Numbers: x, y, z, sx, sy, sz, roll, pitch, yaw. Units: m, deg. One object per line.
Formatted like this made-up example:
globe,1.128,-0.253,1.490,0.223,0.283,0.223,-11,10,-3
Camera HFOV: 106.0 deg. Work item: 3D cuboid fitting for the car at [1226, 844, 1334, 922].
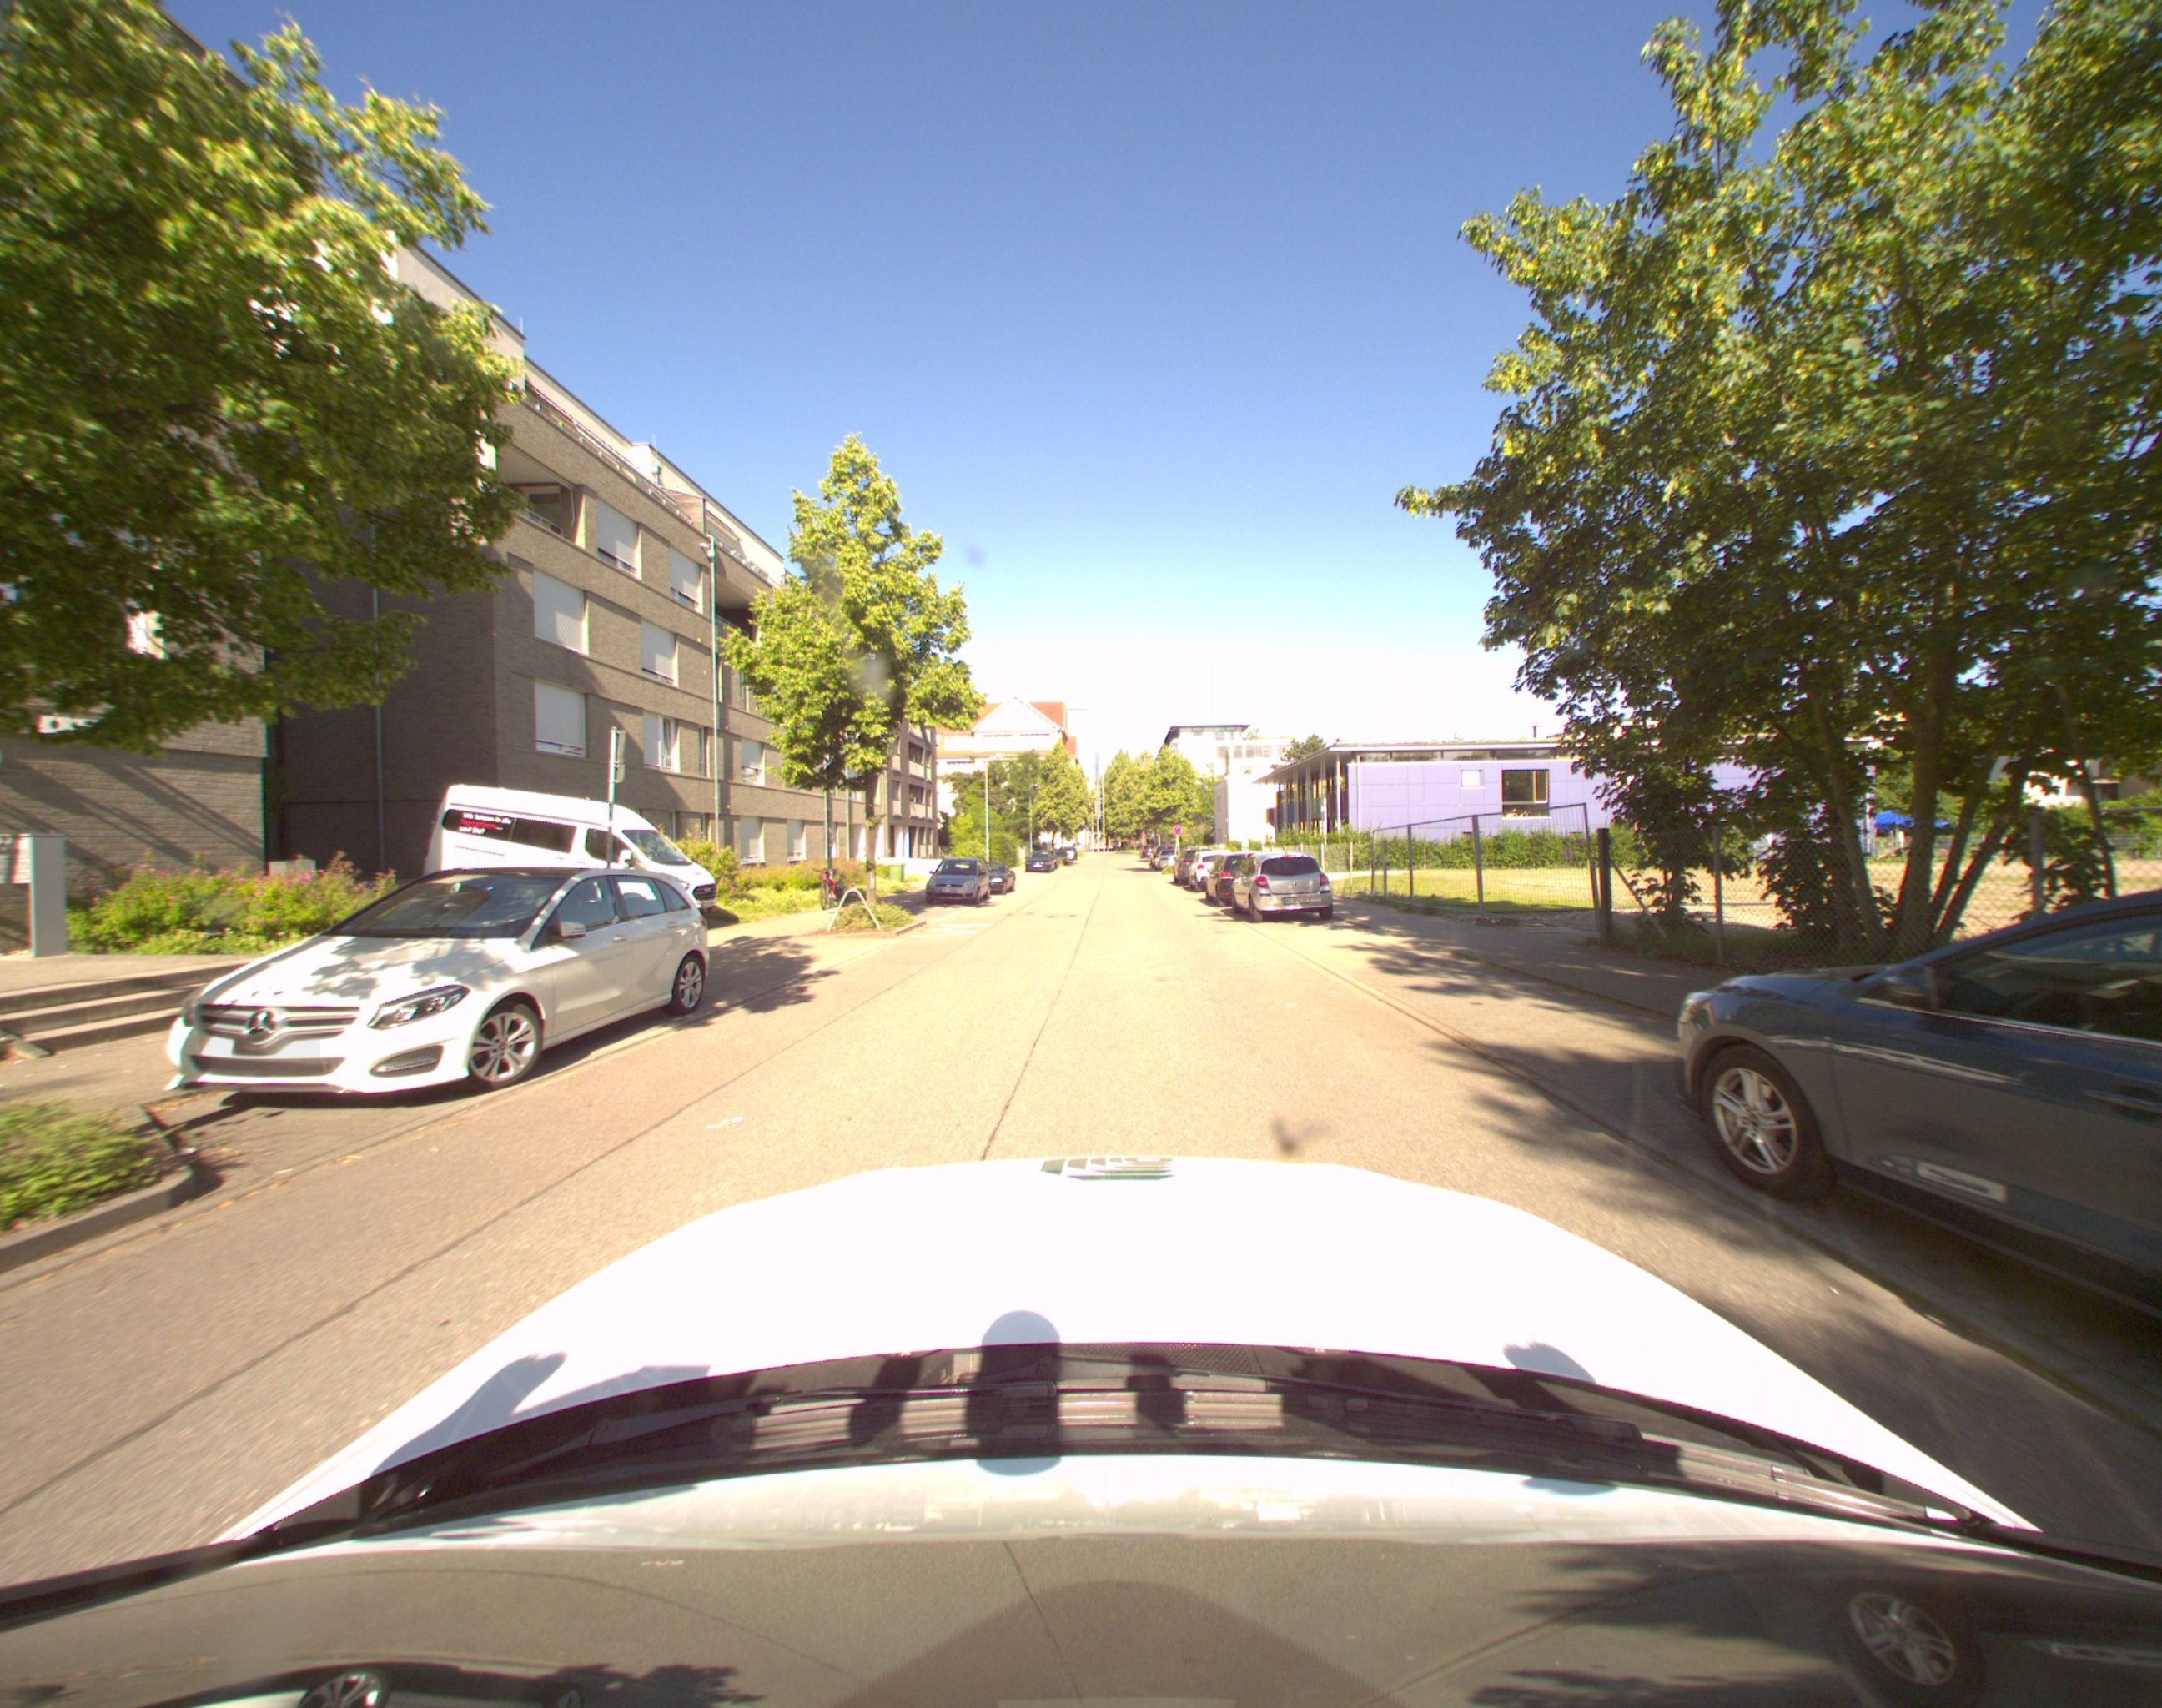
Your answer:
car,4.423,0.570,18.645,1.656,1.512,4.004,-1,2,3

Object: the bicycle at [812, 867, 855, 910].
bicycle,-6.958,0.945,22.970,0.281,1.124,1.989,-1,0,9

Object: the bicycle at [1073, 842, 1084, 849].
bicycle,-0.398,-1.135,109.700,1.463,0.842,0.335,-1,1,-2

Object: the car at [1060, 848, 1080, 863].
car,-1.106,0.151,85.190,1.770,1.530,4.003,-1,0,3

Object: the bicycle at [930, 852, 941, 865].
bicycle,-9.923,0.310,55.447,0.252,0.837,1.777,-1,2,6

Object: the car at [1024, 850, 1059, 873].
car,-2.695,0.486,55.792,1.753,1.527,4.007,1,0,6

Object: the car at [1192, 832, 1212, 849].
car,14.456,-1.599,97.683,1.985,2.013,4.003,-1,1,2

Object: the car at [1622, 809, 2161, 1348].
car,3.704,0.584,2.145,1.670,1.437,4.440,-1,0,1

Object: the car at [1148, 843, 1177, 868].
car,6.171,0.116,61.911,1.814,1.718,4.122,-4,0,2

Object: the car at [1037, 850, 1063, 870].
car,-2.341,0.430,62.351,1.623,1.501,3.580,-1,0,3

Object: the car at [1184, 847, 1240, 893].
car,4.960,0.551,31.216,1.673,1.542,3.851,-1,2,2

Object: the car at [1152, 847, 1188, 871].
car,5.973,0.331,54.993,1.824,1.422,4.232,-4,0,-1

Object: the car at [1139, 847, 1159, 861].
car,7.624,-0.043,91.444,1.985,1.486,4.003,-1,0,2

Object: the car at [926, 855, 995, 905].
car,-3.957,0.816,27.207,1.605,1.465,3.875,-1,0,1

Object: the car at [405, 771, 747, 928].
car,-10.040,-0.089,16.534,5.431,2.383,1.921,7,0,-2

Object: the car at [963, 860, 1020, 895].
car,-3.499,0.884,32.487,1.592,1.217,3.879,1,1,3

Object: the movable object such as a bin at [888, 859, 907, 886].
movable object such as a bin,-7.813,0.793,34.686,0.605,1.090,0.637,-1,1,1

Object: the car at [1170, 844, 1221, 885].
car,5.049,0.421,36.374,1.719,1.652,4.328,-3,1,2

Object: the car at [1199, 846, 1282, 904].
car,4.495,0.551,23.480,1.681,1.494,4.080,-1,0,2

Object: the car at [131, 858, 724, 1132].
car,-4.845,0.850,7.020,1.654,1.532,4.285,-1,1,-1

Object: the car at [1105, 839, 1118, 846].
car,9.002,-3.401,240.506,3.970,2.013,2.002,-1,1,3

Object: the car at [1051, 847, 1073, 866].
car,-1.665,0.209,71.932,1.688,1.605,3.945,-1,0,3

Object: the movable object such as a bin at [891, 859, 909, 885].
movable object such as a bin,-7.881,0.774,35.505,0.605,1.083,0.637,-1,1,1

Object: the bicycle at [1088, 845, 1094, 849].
bicycle,1.536,-1.110,129.595,0.375,0.683,1.069,-2,2,-34

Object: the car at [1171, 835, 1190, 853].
car,11.922,-1.202,97.746,2.016,2.013,4.003,-1,0,2

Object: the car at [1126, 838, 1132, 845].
car,14.234,-3.703,241.674,1.985,2.013,4.004,-1,2,3
